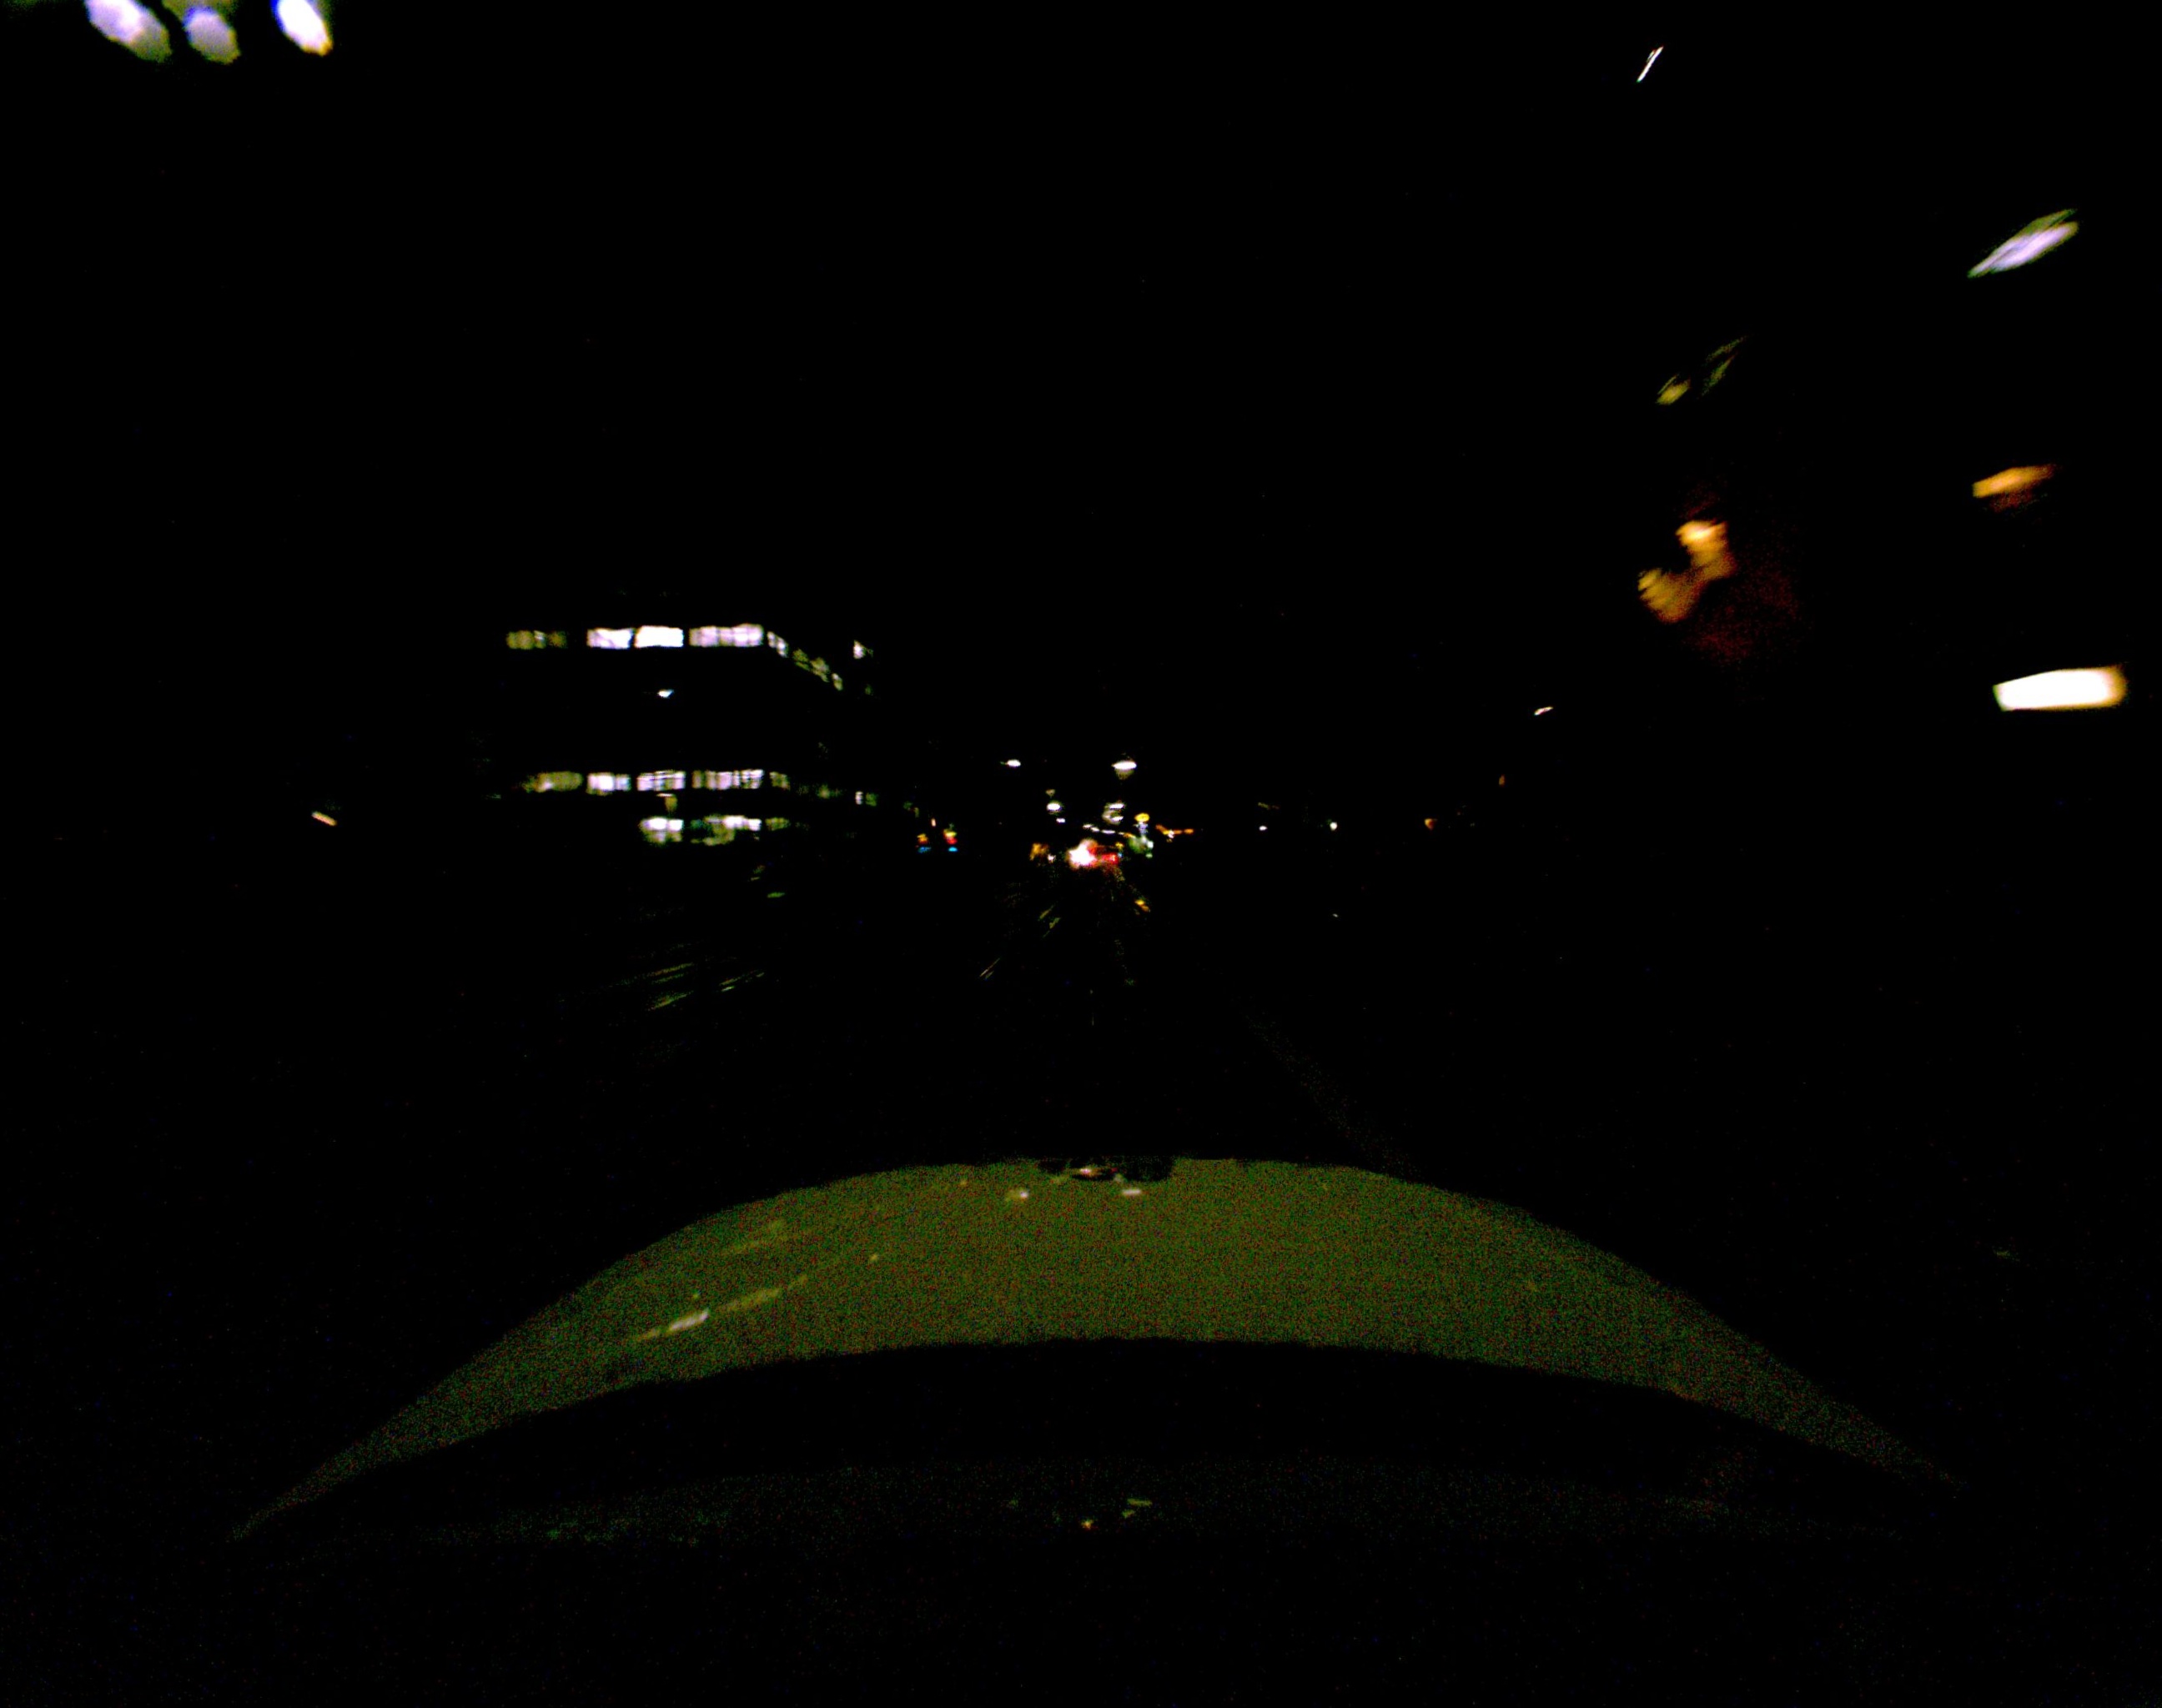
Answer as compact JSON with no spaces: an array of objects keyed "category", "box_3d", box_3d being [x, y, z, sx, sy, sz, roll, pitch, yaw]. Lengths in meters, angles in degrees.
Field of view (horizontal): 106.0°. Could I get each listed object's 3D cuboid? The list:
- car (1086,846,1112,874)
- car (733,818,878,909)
[{"category":"car","box_3d":[1.542,0.502,70.921,2.236,2.361,4.393,0,0,0]},{"category":"car","box_3d":[-8.680,0.245,26.501,2.176,2.591,6.398,0,1,4]}]
